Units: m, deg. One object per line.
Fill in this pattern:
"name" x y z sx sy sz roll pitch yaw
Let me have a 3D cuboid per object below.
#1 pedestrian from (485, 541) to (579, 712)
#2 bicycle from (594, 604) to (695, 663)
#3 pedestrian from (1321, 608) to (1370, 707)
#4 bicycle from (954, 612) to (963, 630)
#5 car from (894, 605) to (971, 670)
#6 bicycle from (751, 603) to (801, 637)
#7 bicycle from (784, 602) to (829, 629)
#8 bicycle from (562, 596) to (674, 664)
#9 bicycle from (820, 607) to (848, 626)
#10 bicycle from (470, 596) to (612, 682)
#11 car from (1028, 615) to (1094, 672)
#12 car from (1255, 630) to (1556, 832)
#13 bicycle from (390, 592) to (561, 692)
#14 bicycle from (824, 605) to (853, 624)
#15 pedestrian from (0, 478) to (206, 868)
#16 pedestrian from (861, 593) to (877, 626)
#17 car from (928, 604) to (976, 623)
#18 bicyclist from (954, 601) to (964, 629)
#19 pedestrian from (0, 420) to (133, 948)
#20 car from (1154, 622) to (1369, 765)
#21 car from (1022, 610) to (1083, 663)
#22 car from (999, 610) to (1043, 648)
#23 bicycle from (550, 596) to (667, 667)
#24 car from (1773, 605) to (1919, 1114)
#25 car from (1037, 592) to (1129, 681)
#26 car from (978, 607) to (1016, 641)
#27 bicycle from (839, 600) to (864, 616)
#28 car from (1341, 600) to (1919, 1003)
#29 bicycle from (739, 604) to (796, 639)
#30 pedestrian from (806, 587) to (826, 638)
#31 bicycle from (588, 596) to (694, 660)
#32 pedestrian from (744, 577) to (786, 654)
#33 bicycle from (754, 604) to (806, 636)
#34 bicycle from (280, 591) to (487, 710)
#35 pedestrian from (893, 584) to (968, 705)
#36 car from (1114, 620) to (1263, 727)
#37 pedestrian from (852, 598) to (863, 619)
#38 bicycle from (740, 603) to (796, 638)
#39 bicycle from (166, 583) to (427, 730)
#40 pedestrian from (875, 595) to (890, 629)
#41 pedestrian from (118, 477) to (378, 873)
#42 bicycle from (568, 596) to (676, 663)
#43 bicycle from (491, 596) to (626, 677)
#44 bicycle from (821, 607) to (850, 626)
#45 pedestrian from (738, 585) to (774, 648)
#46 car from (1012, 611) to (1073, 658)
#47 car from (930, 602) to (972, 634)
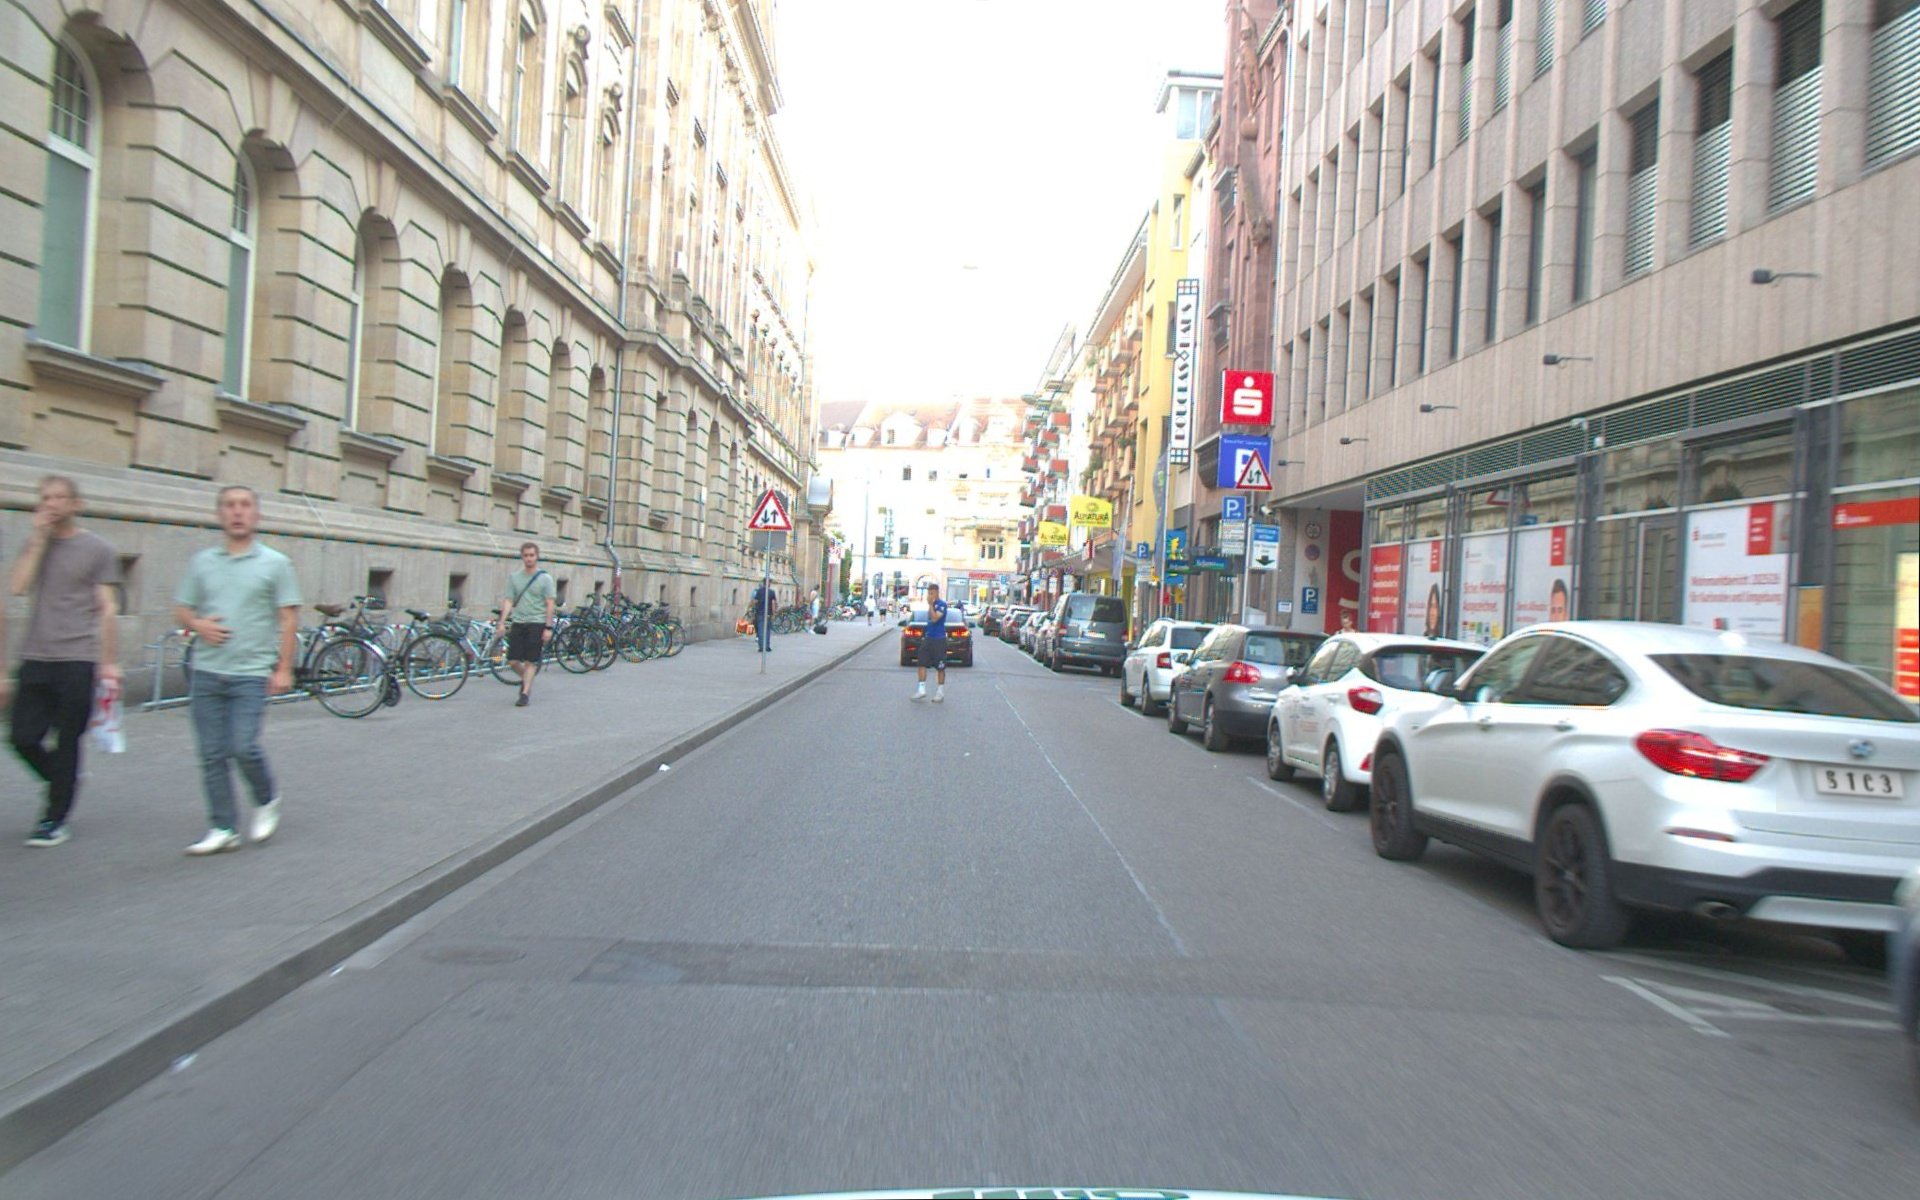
"pedestrian" -4.750 0.286 18.400 0.703 1.811 0.800 4 -1 -1
"bicycle" -6.435 0.672 33.836 1.898 1.064 0.721 4 0 -5
"pedestrian" 6.620 0.980 28.416 0.635 1.664 0.650 1 0 -2
"bicycle" -0.100 1.392 108.311 0.525 1.127 1.800 3 0 1
"car" -0.665 0.896 41.575 1.729 1.398 4.790 4 0 0
"bicycle" -6.845 0.747 61.652 1.760 1.127 0.499 4 -1 -7
"bicycle" -7.201 0.732 77.567 1.906 1.080 0.617 6 -2 -16
"bicycle" -6.368 0.561 30.881 1.901 1.097 0.729 5 -1 -8
"bicycle" -8.104 1.070 106.314 1.758 1.127 0.500 3 0 -2
"bicycle" -6.250 0.579 24.754 1.901 1.097 0.729 5 -1 -8
"car" 3.055 1.289 50.713 1.653 1.478 4.498 5 0 0
"car" 3.915 1.084 15.189 1.623 1.473 3.868 4 -1 0
"bicycle" -6.208 0.536 21.269 1.899 1.097 0.729 5 -1 -4
"bicycle" -7.950 0.933 108.494 1.757 1.127 0.500 4 0 2
"pedestrian" -4.226 0.318 7.843 0.714 1.696 0.858 6 0 2
"pedestrian" -5.348 0.543 97.424 0.726 1.844 1.008 5 0 -1
"car" -0.771 1.335 161.596 4.263 1.589 1.868 2 -1 22
"bicyclist" -0.077 1.003 108.321 0.513 1.787 0.620 3 -1 1
"pedestrian" -3.677 0.277 5.970 0.701 1.861 0.870 6 0 6
"car" 3.641 1.077 20.730 1.624 1.473 4.443 4 -1 -2
"car" 3.087 1.205 55.828 1.586 1.542 4.172 5 0 -2
"car" 2.675 1.253 73.844 1.657 1.439 4.756 5 0 0
"bicycle" -6.263 0.553 29.568 1.901 1.097 0.729 5 -1 -8
"car" 3.998 0.909 3.882 1.705 1.626 4.713 5 0 -1
"car" 3.176 0.933 43.628 1.809 2.094 5.052 4 -1 -1
"car" 1.997 1.258 88.047 1.757 1.637 4.488 5 0 4
"bicycle" -8.277 0.597 126.051 1.760 1.127 0.499 4 -1 -6
"car" 3.826 0.932 9.703 1.741 1.694 4.810 4 -1 -3
"bicycle" -6.763 0.743 58.187 1.898 1.080 0.619 4 -1 -2
"pedestrian" -5.493 0.465 63.075 0.577 1.883 0.753 5 0 -6
"bicycle" -6.339 0.556 32.920 1.899 1.097 0.748 5 -1 -2
"pedestrian" -4.699 0.377 39.896 0.793 1.781 0.969 4 -1 -1
"bicycle" -6.922 0.783 63.665 1.900 1.080 0.619 5 -1 -7
"bicycle" -6.190 0.544 17.813 1.989 1.097 0.726 5 -1 -21
"pedestrian" -0.460 0.680 25.607 0.814 1.820 0.766 2 -1 -43
"car" 3.591 1.113 26.703 1.623 1.473 4.306 4 -1 -1
"pedestrian" -7.629 0.648 122.926 0.499 1.504 0.513 4 0 23
"bicycle" -6.898 0.733 59.432 1.900 1.080 0.619 4 -1 -7
"bicycle" -5.955 0.505 14.945 1.981 1.128 0.729 5 -1 -7
"pedestrian" -4.557 0.688 97.648 0.729 1.926 1.050 4 0 0
"pedestrian" -3.460 0.350 8.113 0.711 1.772 0.839 6 0 2
"bicycle" -6.448 0.563 31.651 1.901 1.097 0.729 5 -1 -8
"bicycle" -6.283 0.569 25.943 1.901 1.097 0.729 5 -1 -8
"bicycle" -7.973 1.073 105.971 1.758 1.127 0.500 3 0 -1
"pedestrian" -5.963 0.480 48.333 0.812 1.776 0.769 5 0 -1
"car" 3.003 1.243 60.998 1.658 1.435 4.636 5 0 -4
"car" -0.434 0.899 83.684 1.838 1.498 4.001 2 0 3
